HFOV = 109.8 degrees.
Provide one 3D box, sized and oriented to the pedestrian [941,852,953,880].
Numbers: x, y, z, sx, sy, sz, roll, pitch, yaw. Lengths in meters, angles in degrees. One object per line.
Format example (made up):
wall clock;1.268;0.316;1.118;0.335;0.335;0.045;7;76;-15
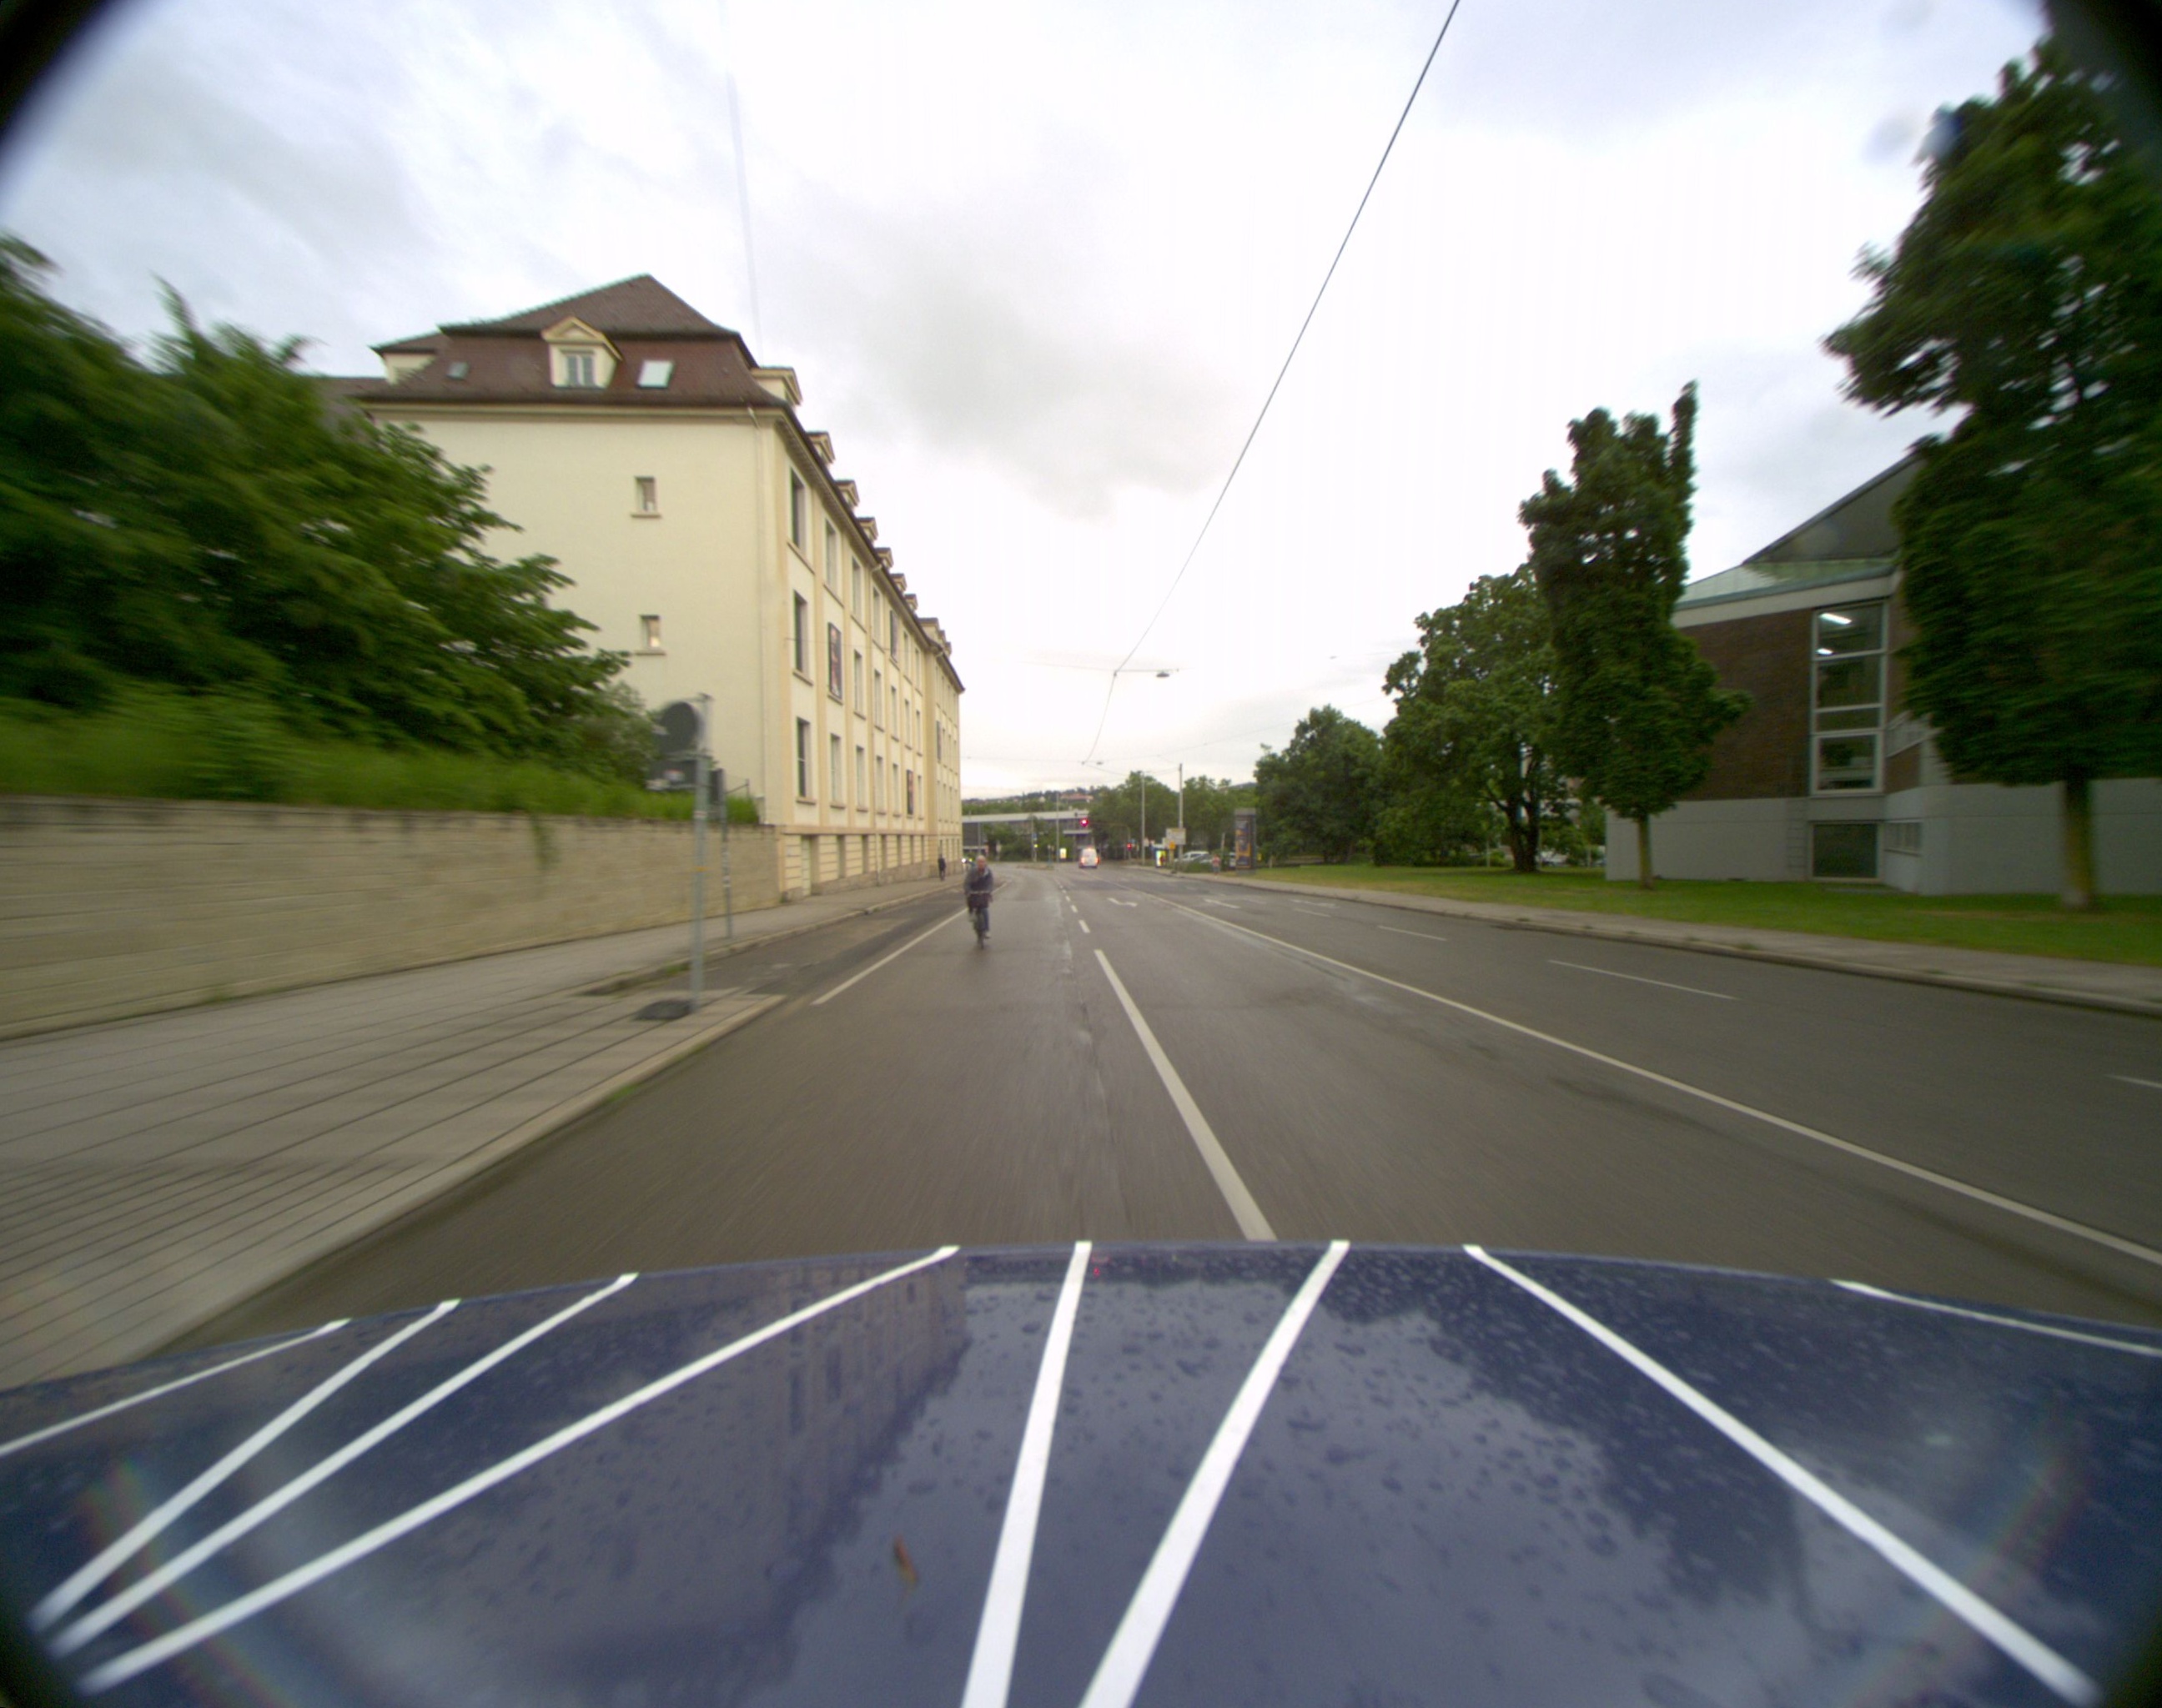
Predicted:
pedestrian;-8.882;0.788;50.415;0.672;1.787;0.851;0;1;-1

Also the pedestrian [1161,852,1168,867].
pedestrian;9.485;0.603;86.452;0.629;1.686;0.642;-2;2;-10

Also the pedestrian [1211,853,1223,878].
pedestrian;9.403;0.779;52.474;0.671;1.677;0.913;-2;2;5

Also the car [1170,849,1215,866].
car;13.047;0.409;89.014;4.710;1.745;2.020;-1;1;39

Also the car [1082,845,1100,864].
car;1.293;0.015;101.993;1.989;2.514;5.629;0;0;-5

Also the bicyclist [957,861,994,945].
bicyclist;-1.885;0.851;13.704;0.485;1.425;0.930;-2;1;0

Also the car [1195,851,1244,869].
car;13.119;0.535;72.164;1.872;1.600;4.514;-3;1;-36

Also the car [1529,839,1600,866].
car;54.357;-0.181;85.526;6.208;2.745;2.739;-2;1;1

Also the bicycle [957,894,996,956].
bicycle;-1.868;1.244;13.715;0.448;0.957;1.690;-2;0;0

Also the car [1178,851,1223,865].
car;12.790;0.476;81.481;4.369;1.341;1.907;-2;1;27
